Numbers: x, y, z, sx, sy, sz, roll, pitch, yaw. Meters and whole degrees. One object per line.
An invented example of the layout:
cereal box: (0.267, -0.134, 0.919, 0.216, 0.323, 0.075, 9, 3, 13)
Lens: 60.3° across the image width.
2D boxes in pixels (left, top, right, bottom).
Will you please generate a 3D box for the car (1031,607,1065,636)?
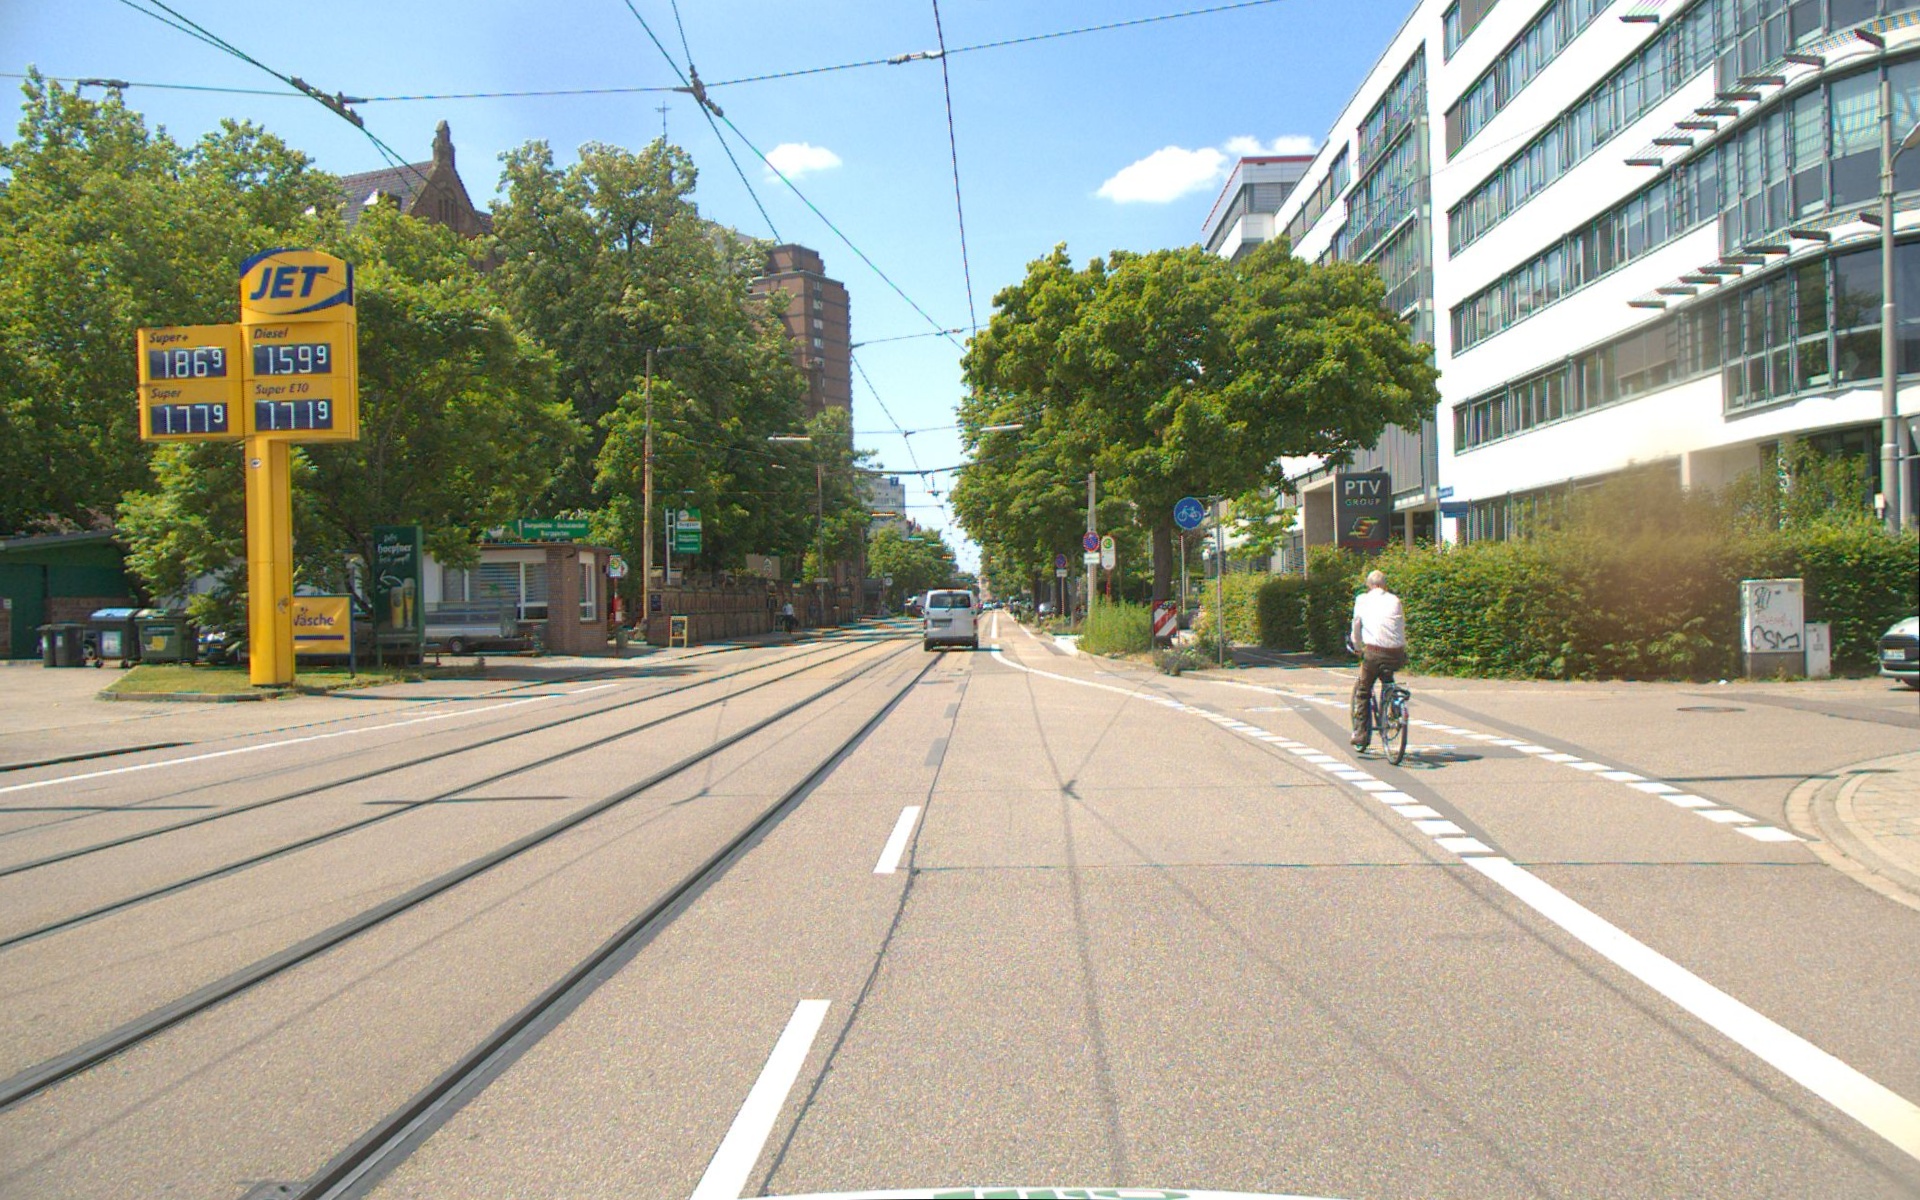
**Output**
car: (5.001, 1.265, 94.307, 1.554, 1.515, 3.454, -3, -2, -1)

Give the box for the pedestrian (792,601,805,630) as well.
pedestrian: (-10.107, 0.984, 103.502, 0.663, 1.757, 0.983, -3, -2, -1)

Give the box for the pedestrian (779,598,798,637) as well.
pedestrian: (-9.204, 0.955, 88.876, 0.846, 2.049, 0.646, -3, -2, -2)

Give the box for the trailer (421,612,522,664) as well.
trailer: (-14.934, 1.164, 50.619, 2.671, 1.553, 1.330, -1, -2, 2)

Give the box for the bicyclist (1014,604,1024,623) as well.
bicyclist: (3.784, 0.844, 105.501, 0.529, 1.178, 0.575, -3, -2, -2)

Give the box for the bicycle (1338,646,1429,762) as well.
bicycle: (3.735, 0.886, 14.697, 0.456, 0.903, 2.049, -1, 0, 6)

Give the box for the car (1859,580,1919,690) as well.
car: (13.304, 0.328, 20.222, 3.720, 1.297, 1.556, -3, -1, 2)

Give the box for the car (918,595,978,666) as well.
car: (-0.343, 0.919, 51.681, 1.716, 2.048, 4.000, -3, 0, 0)

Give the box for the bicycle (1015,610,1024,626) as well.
bicycle: (3.801, 1.162, 105.465, 0.380, 0.981, 1.698, -3, -2, -1)

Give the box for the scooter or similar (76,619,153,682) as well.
scooter or similar: (-20.872, 1.247, 40.843, 1.286, 1.492, 1.060, -2, -2, 13)

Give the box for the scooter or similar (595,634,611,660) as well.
scooter or similar: (-12.309, 1.609, 56.987, 0.423, 0.878, 0.500, -1, -2, -2)

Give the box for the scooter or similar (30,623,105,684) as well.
scooter or similar: (-22.668, 1.349, 42.021, 1.286, 1.492, 1.060, -2, -2, 13)

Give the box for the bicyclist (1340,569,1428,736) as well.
bicyclist: (3.743, 0.455, 14.654, 0.579, 1.421, 0.842, -1, -1, 3)

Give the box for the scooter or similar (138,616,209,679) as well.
scooter or similar: (-19.166, 1.150, 40.318, 1.147, 1.492, 1.060, -2, -2, 6)
